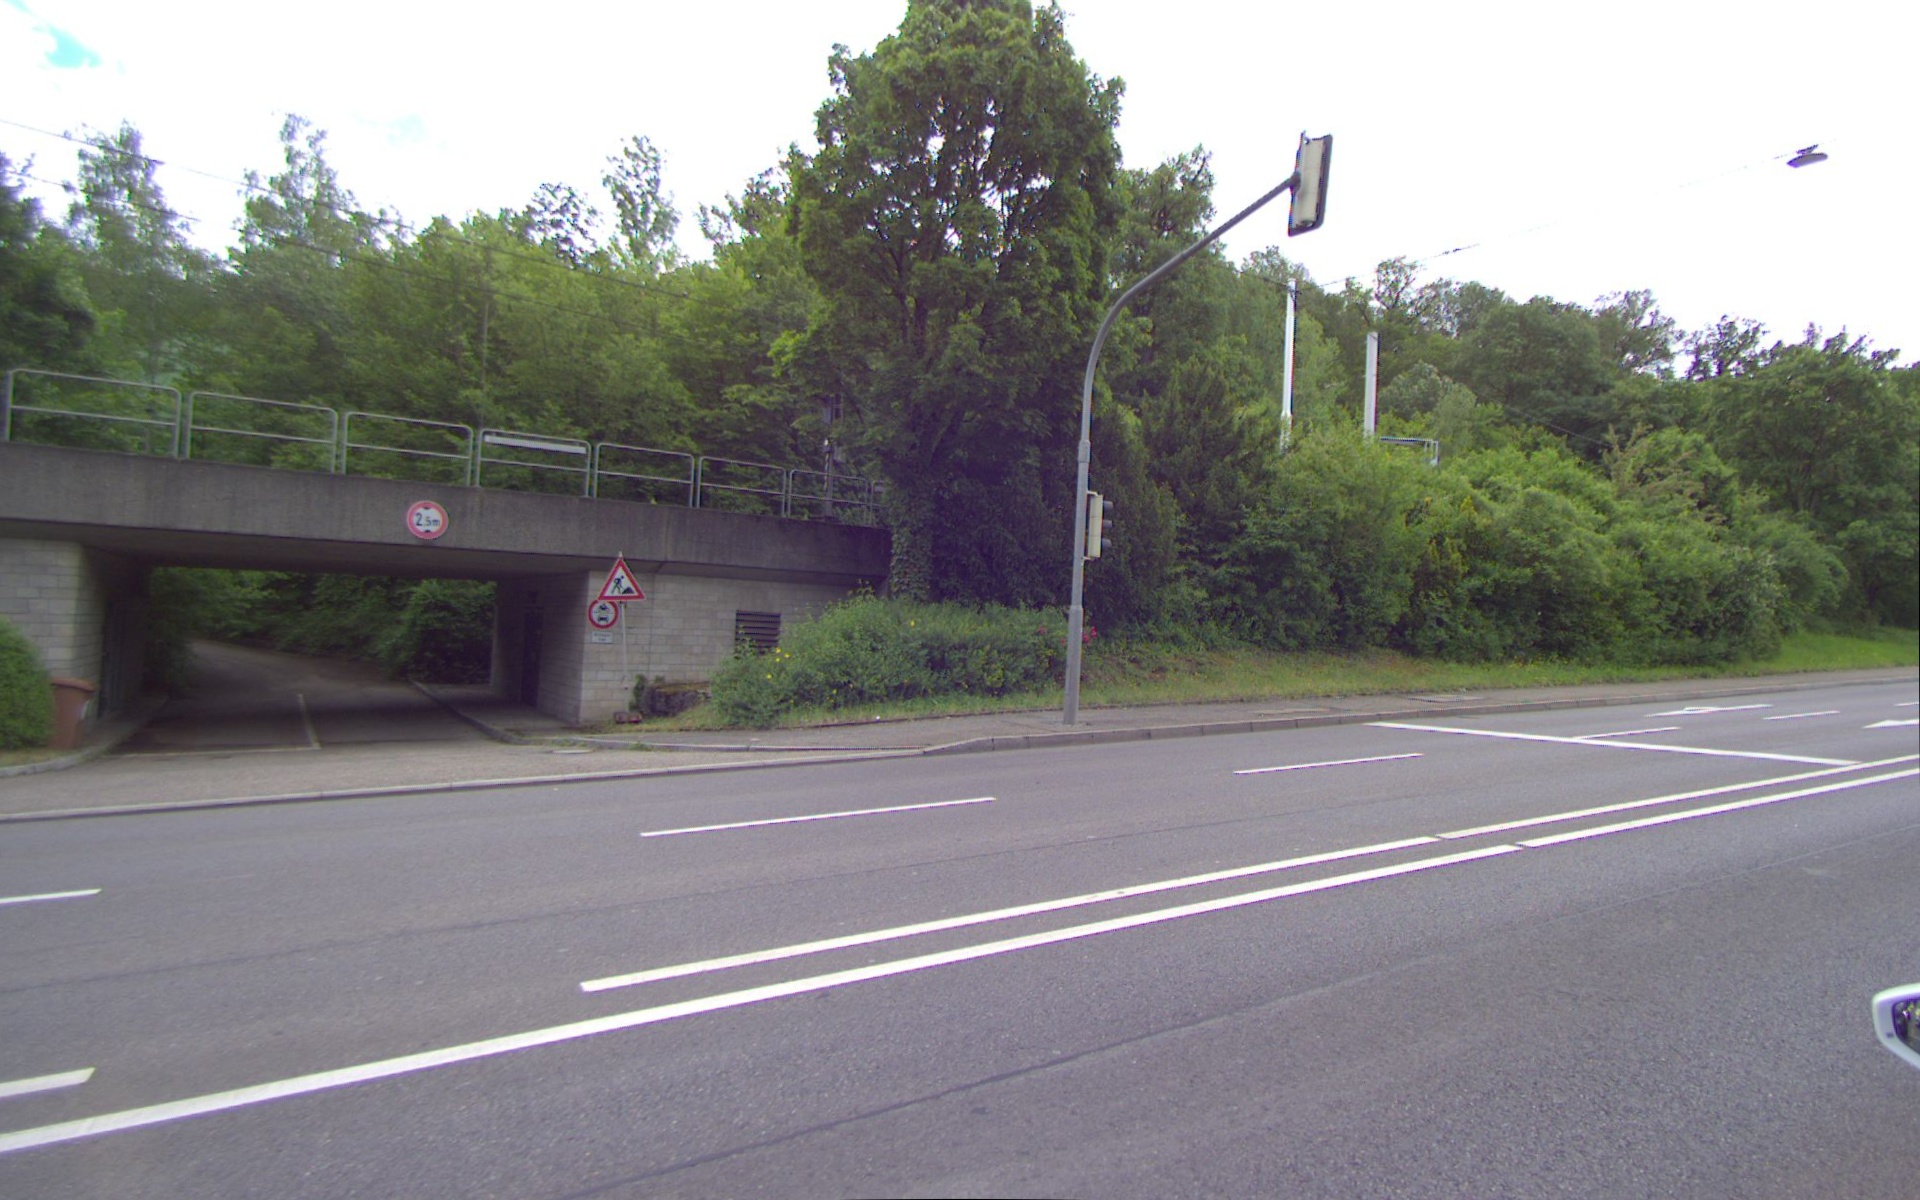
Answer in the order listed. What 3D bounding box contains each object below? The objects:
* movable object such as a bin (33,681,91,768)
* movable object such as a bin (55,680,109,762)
[{"bbox_3d":[-11.793,1.621,13.196,0.499,1.077,0.415,1,-2,-35],"label":"movable object such as a bin"},{"bbox_3d":[-12.090,1.655,13.837,0.499,1.077,0.415,1,-2,-35],"label":"movable object such as a bin"}]
